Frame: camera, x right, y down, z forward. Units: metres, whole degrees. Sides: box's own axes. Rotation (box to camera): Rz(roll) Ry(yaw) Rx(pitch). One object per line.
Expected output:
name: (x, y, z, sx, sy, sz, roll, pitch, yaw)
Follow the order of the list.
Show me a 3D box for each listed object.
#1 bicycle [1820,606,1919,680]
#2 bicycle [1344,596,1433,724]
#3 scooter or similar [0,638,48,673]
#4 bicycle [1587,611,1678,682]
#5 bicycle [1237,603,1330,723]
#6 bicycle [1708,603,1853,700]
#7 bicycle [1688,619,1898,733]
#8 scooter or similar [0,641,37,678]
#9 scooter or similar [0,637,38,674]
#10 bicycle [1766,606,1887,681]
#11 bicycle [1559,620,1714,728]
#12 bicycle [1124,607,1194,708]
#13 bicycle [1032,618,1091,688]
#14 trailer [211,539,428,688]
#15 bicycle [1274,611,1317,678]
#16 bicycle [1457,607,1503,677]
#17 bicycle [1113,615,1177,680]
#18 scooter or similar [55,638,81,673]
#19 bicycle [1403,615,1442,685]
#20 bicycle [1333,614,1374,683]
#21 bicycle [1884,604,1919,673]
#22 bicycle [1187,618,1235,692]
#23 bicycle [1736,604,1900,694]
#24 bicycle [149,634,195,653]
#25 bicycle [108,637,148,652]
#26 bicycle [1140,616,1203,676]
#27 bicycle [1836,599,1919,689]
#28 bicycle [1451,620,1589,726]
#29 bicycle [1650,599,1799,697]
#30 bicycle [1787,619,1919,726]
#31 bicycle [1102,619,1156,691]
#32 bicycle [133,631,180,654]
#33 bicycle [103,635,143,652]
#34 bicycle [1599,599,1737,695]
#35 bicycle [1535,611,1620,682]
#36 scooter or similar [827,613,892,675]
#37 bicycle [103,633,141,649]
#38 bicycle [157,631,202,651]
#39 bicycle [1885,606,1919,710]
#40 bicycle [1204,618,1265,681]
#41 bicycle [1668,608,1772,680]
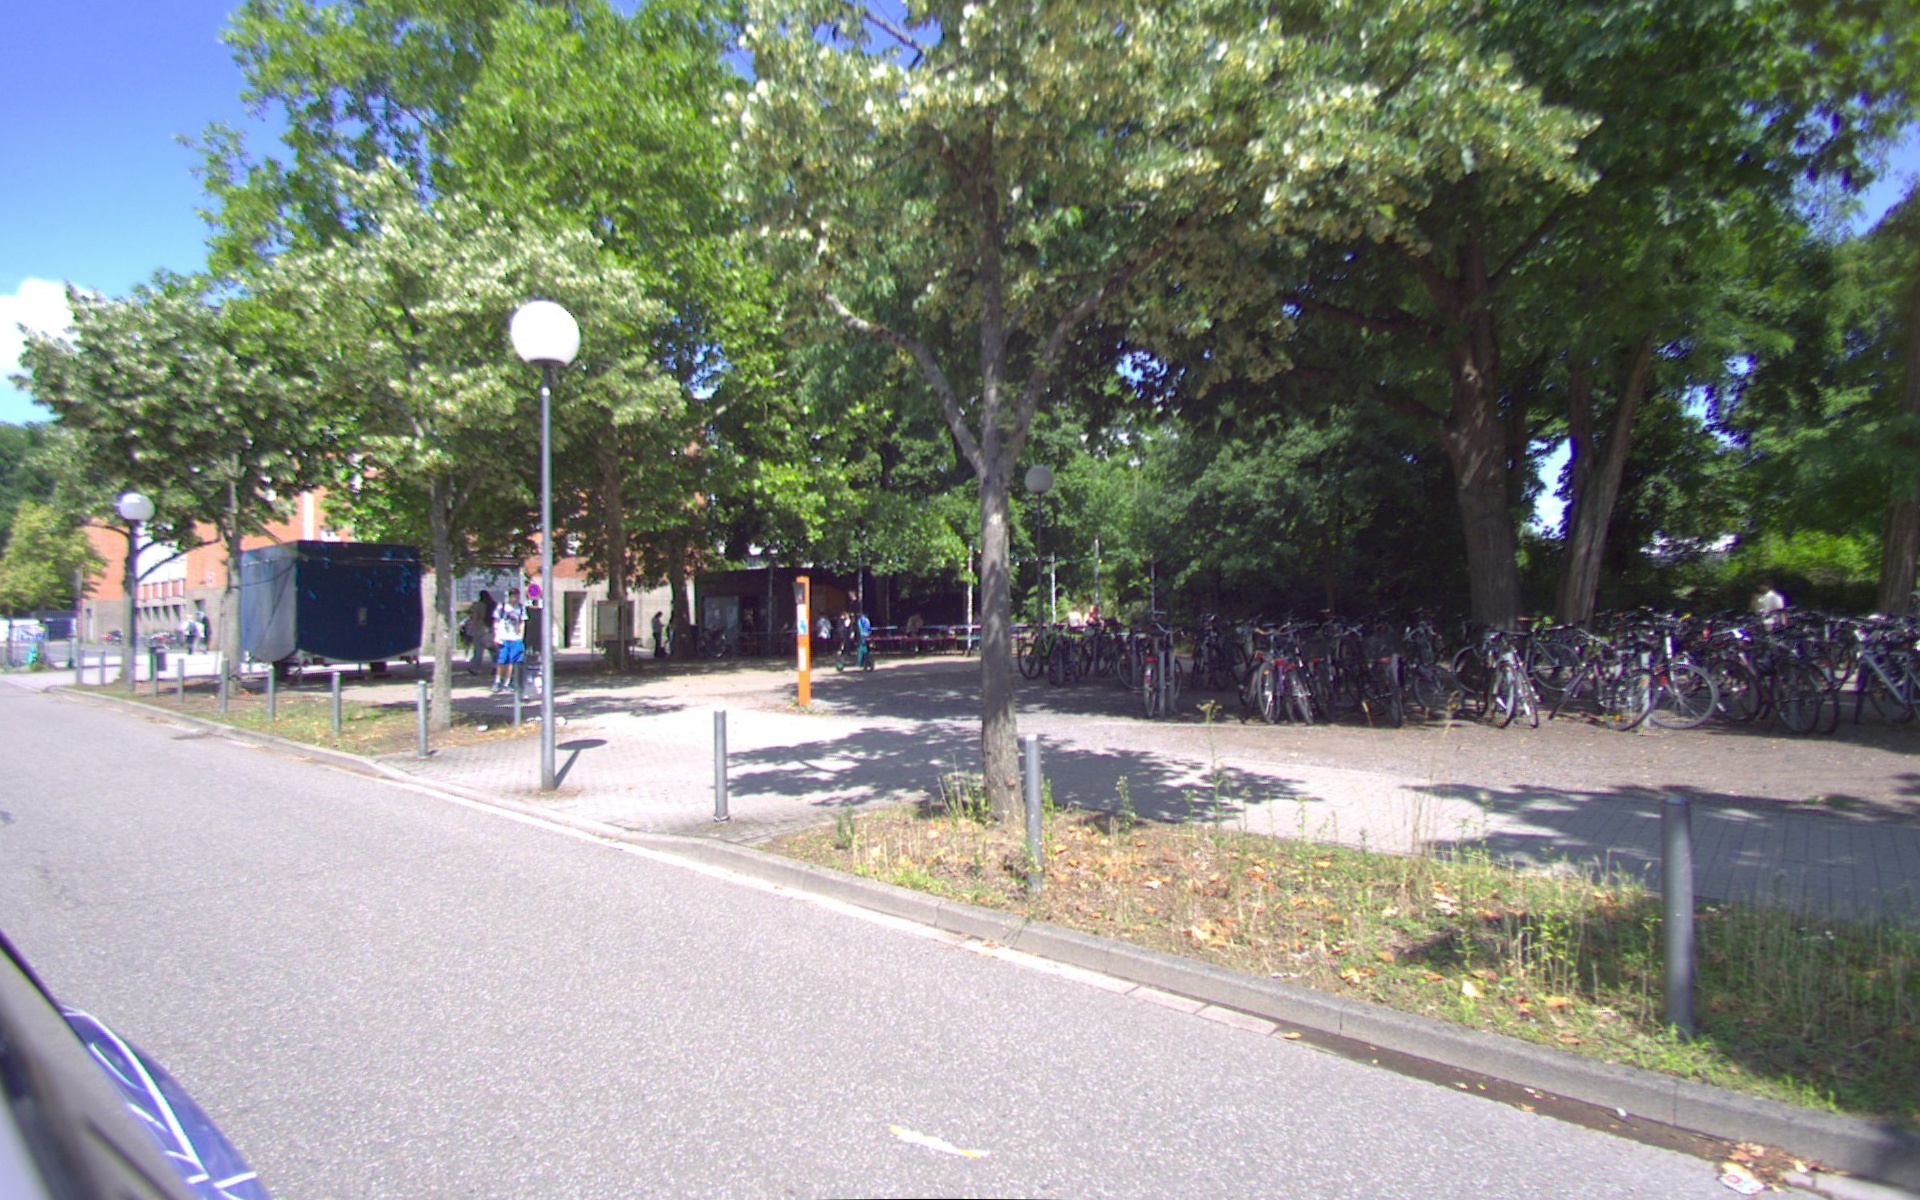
bicycle: (14.601, 0.645, 16.063, 0.541, 1.097, 1.960, -1, -1, 12)
bicycle: (4.756, 0.604, 11.243, 0.804, 1.244, 2.044, -1, 1, 23)
scooter or similar: (-33.827, 1.991, 36.304, 1.548, 1.234, 0.572, 0, -1, -22)
bicycle: (11.077, 0.738, 16.743, 0.541, 1.097, 1.960, -1, -1, 12)
bicycle: (3.779, 0.674, 11.717, 0.804, 1.244, 2.044, -1, 0, 23)
bicycle: (11.113, 0.654, 13.797, 0.473, 1.141, 2.057, -2, 2, 6)
bicycle: (8.399, 0.720, 10.347, 0.670, 1.016, 2.147, -1, -1, 10)
scooter or similar: (-32.880, 2.039, 34.824, 1.548, 1.234, 0.526, 0, -1, -22)
scooter or similar: (-33.445, 1.946, 35.475, 1.548, 1.234, 0.567, 0, -1, -22)
bicycle: (13.566, 0.657, 15.921, 0.541, 1.097, 1.960, -1, -1, 12)
bicycle: (7.115, 0.745, 10.760, 0.671, 1.016, 1.885, -1, -1, 11)
bicycle: (2.476, 0.667, 12.467, 0.456, 1.140, 1.765, -1, -1, 23)
bicycle: (1.749, 0.873, 17.173, 0.543, 1.097, 1.849, -2, -1, 20)
trailer: (-15.194, 0.335, 23.824, 6.263, 3.049, 2.668, -2, -1, 41)
bicycle: (5.948, 0.751, 17.900, 0.534, 1.097, 1.952, -2, -1, 23)
bicycle: (8.754, 0.684, 17.078, 0.544, 1.097, 1.951, -2, -1, 24)
bicycle: (3.547, 0.880, 19.244, 0.535, 1.134, 1.947, -2, -1, 30)
scooter or similar: (-31.130, 1.937, 35.328, 0.556, 1.158, 1.352, 0, -1, -37)
bicycle: (7.803, 0.815, 17.102, 0.544, 1.097, 1.951, -2, -1, 24)
bicycle: (6.799, 0.802, 17.440, 0.544, 1.097, 1.951, -2, -1, 24)
bicycle: (15.659, 0.625, 16.044, 0.541, 1.097, 1.960, -1, -1, 12)
bicycle: (4.080, 0.859, 16.384, 0.543, 1.097, 1.849, -2, -1, 20)
bicycle: (11.785, 0.639, 13.996, 0.632, 1.141, 2.057, -2, -1, 6)
bicycle: (-45.856, 2.527, 58.921, 0.663, 1.069, 2.001, -2, -2, 40)
bicycle: (-54.266, 2.881, 66.014, 0.568, 0.948, 1.930, -2, -2, 40)
bicycle: (3.969, 0.830, 18.912, 0.535, 1.035, 1.947, -2, -1, 30)
bicycle: (12.996, 0.582, 13.676, 0.632, 1.167, 2.057, -2, -1, 6)
bicycle: (6.068, 0.750, 11.103, 0.671, 1.016, 2.146, -1, -1, 11)
bicycle: (10.564, 0.622, 14.085, 0.632, 1.244, 2.057, -2, 0, 6)
bicycle: (9.716, 0.718, 10.098, 0.668, 1.016, 2.652, -1, -1, -1)
bicycle: (2.830, 0.876, 16.788, 0.543, 1.097, 1.849, -2, -1, 20)
bicycle: (-44.306, 2.346, 55.827, 0.439, 1.134, 1.998, -2, 0, 45)
bicycle: (-55.373, 2.873, 66.965, 0.530, 1.038, 1.930, -2, -2, 40)
bicycle: (9.909, 0.622, 14.270, 0.632, 1.244, 2.057, -2, -1, 6)
bicycle: (10.188, 0.735, 16.769, 0.541, 1.097, 1.960, -1, -1, 12)
scooter or similar: (-2.144, 0.922, 21.511, 1.241, 1.255, 0.691, -2, -1, 41)
bicycle: (-57.054, 2.792, 68.918, 0.518, 1.038, 1.930, -2, -2, 40)
bicycle: (-44.525, 2.327, 57.753, 0.621, 1.090, 1.989, -2, -2, 40)
bicycle: (10.595, 0.591, 9.685, 0.870, 1.094, 2.752, -1, -1, -1)
bicycle: (4.975, 0.868, 18.260, 0.535, 1.035, 1.947, -2, -1, 30)
bicycle: (12.320, 0.686, 16.474, 0.541, 1.097, 1.960, -1, -1, 12)
